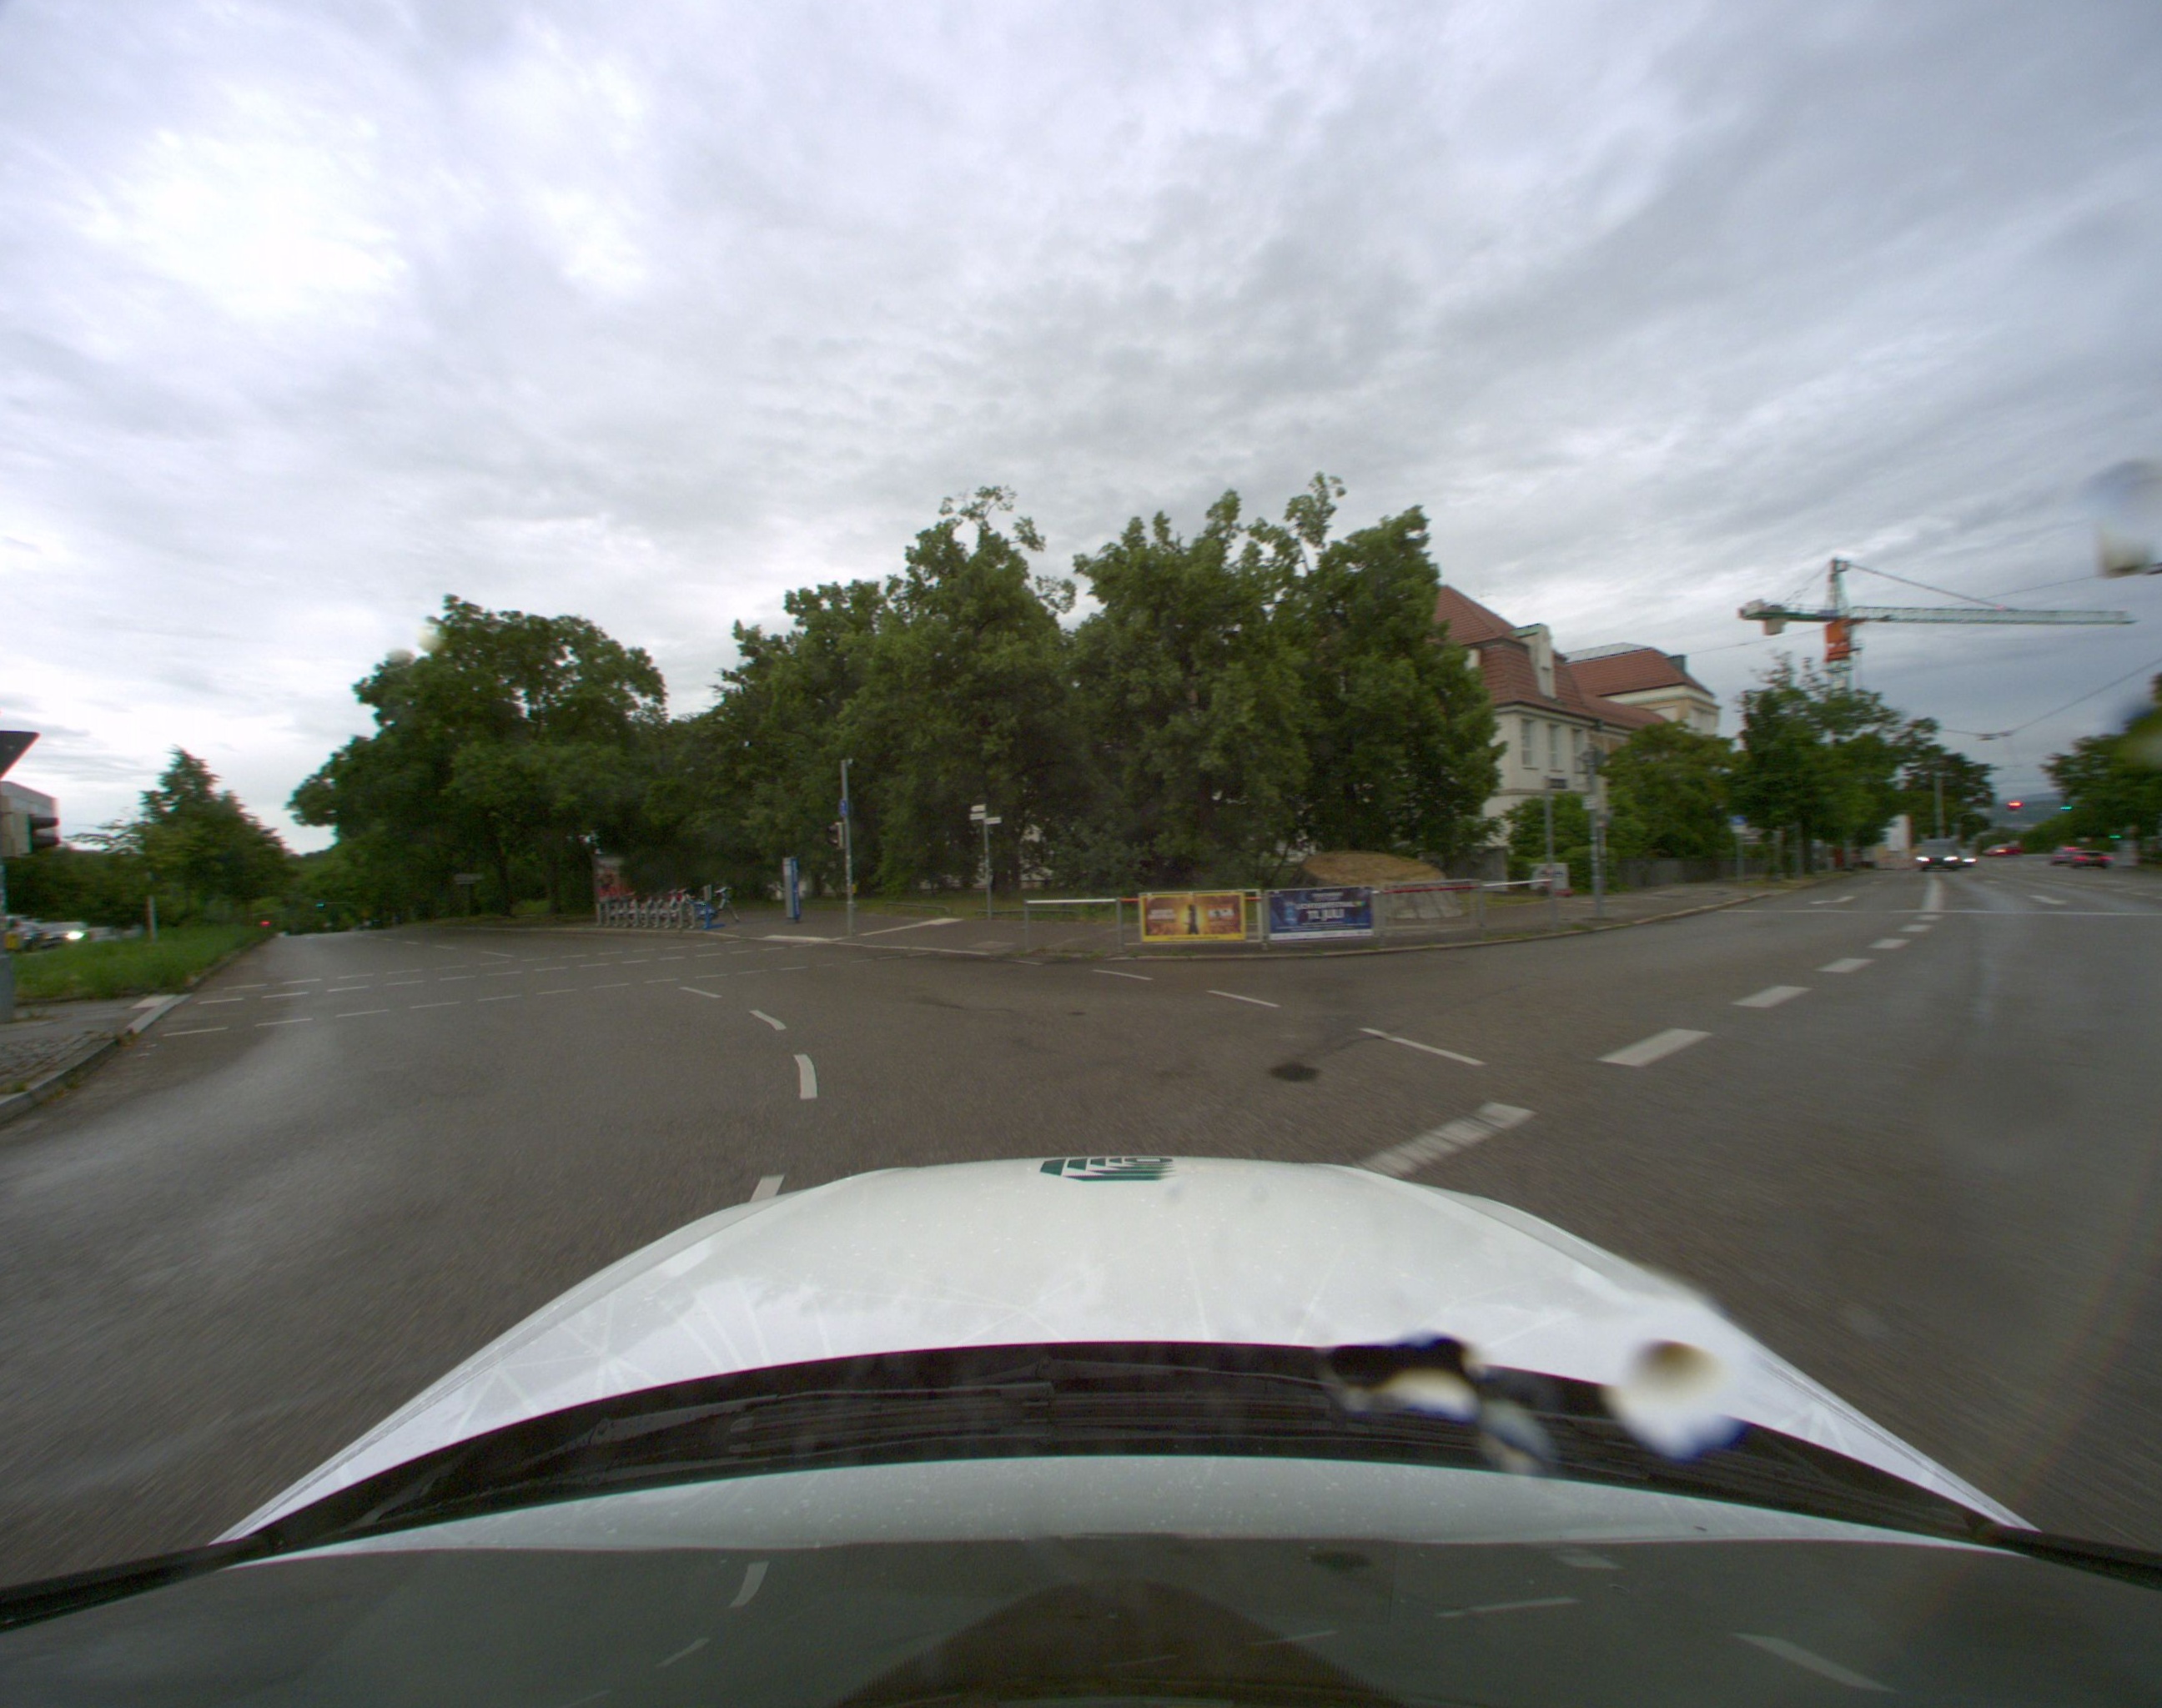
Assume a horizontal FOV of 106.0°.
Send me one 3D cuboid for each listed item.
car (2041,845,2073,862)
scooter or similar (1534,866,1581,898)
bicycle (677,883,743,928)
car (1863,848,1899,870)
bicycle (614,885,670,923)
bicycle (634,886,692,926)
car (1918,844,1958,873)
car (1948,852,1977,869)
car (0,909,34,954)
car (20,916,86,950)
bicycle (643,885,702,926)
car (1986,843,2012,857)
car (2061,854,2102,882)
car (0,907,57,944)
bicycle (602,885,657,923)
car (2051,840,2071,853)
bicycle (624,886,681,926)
[{"bbox_3d":[90.211,-0.070,75.240,3.890,1.439,1.761,-2,0,-38],"label":"car"},{"bbox_3d":[14.155,0.824,24.206,1.084,0.954,0.538,0,-1,-5],"label":"scooter or similar"},{"bbox_3d":[-11.154,1.534,24.526,0.549,1.131,1.612,-4,2,39],"label":"bicycle"},{"bbox_3d":[77.487,0.446,78.902,4.019,2.013,1.977,-2,0,-38],"label":"car"},{"bbox_3d":[-15.166,1.713,28.162,0.549,1.131,1.500,-4,2,39],"label":"bicycle"},{"bbox_3d":[-13.737,1.700,26.795,0.549,1.131,1.500,-4,2,39],"label":"bicycle"},{"bbox_3d":[68.993,0.335,65.544,4.019,2.211,1.820,-2,0,-38],"label":"car"},{"bbox_3d":[81.886,0.601,75.648,3.554,1.461,1.563,-2,0,-38],"label":"car"},{"bbox_3d":[-44.145,3.159,32.707,1.846,1.600,4.616,-4,2,-44],"label":"car"},{"bbox_3d":[-55.293,4.220,43.871,1.710,1.581,3.967,-3,-1,-45],"label":"car"},{"bbox_3d":[-13.153,1.655,26.248,0.549,1.131,1.500,-4,2,39],"label":"bicycle"},{"bbox_3d":[107.454,-0.449,95.286,3.890,1.578,1.761,-2,0,-38],"label":"car"},{"bbox_3d":[79.078,1.058,64.358,4.019,2.013,1.977,-2,0,-38],"label":"car"},{"bbox_3d":[-48.450,3.236,37.105,1.656,1.410,3.947,-4,2,-44],"label":"car"},{"bbox_3d":[-15.894,1.763,28.679,0.549,1.131,1.500,-4,2,39],"label":"bicycle"},{"bbox_3d":[164.139,-1.278,136.381,4.021,2.013,1.976,-1,0,-41],"label":"car"},{"bbox_3d":[-14.351,1.736,27.316,0.549,1.131,1.500,-4,2,39],"label":"bicycle"}]
